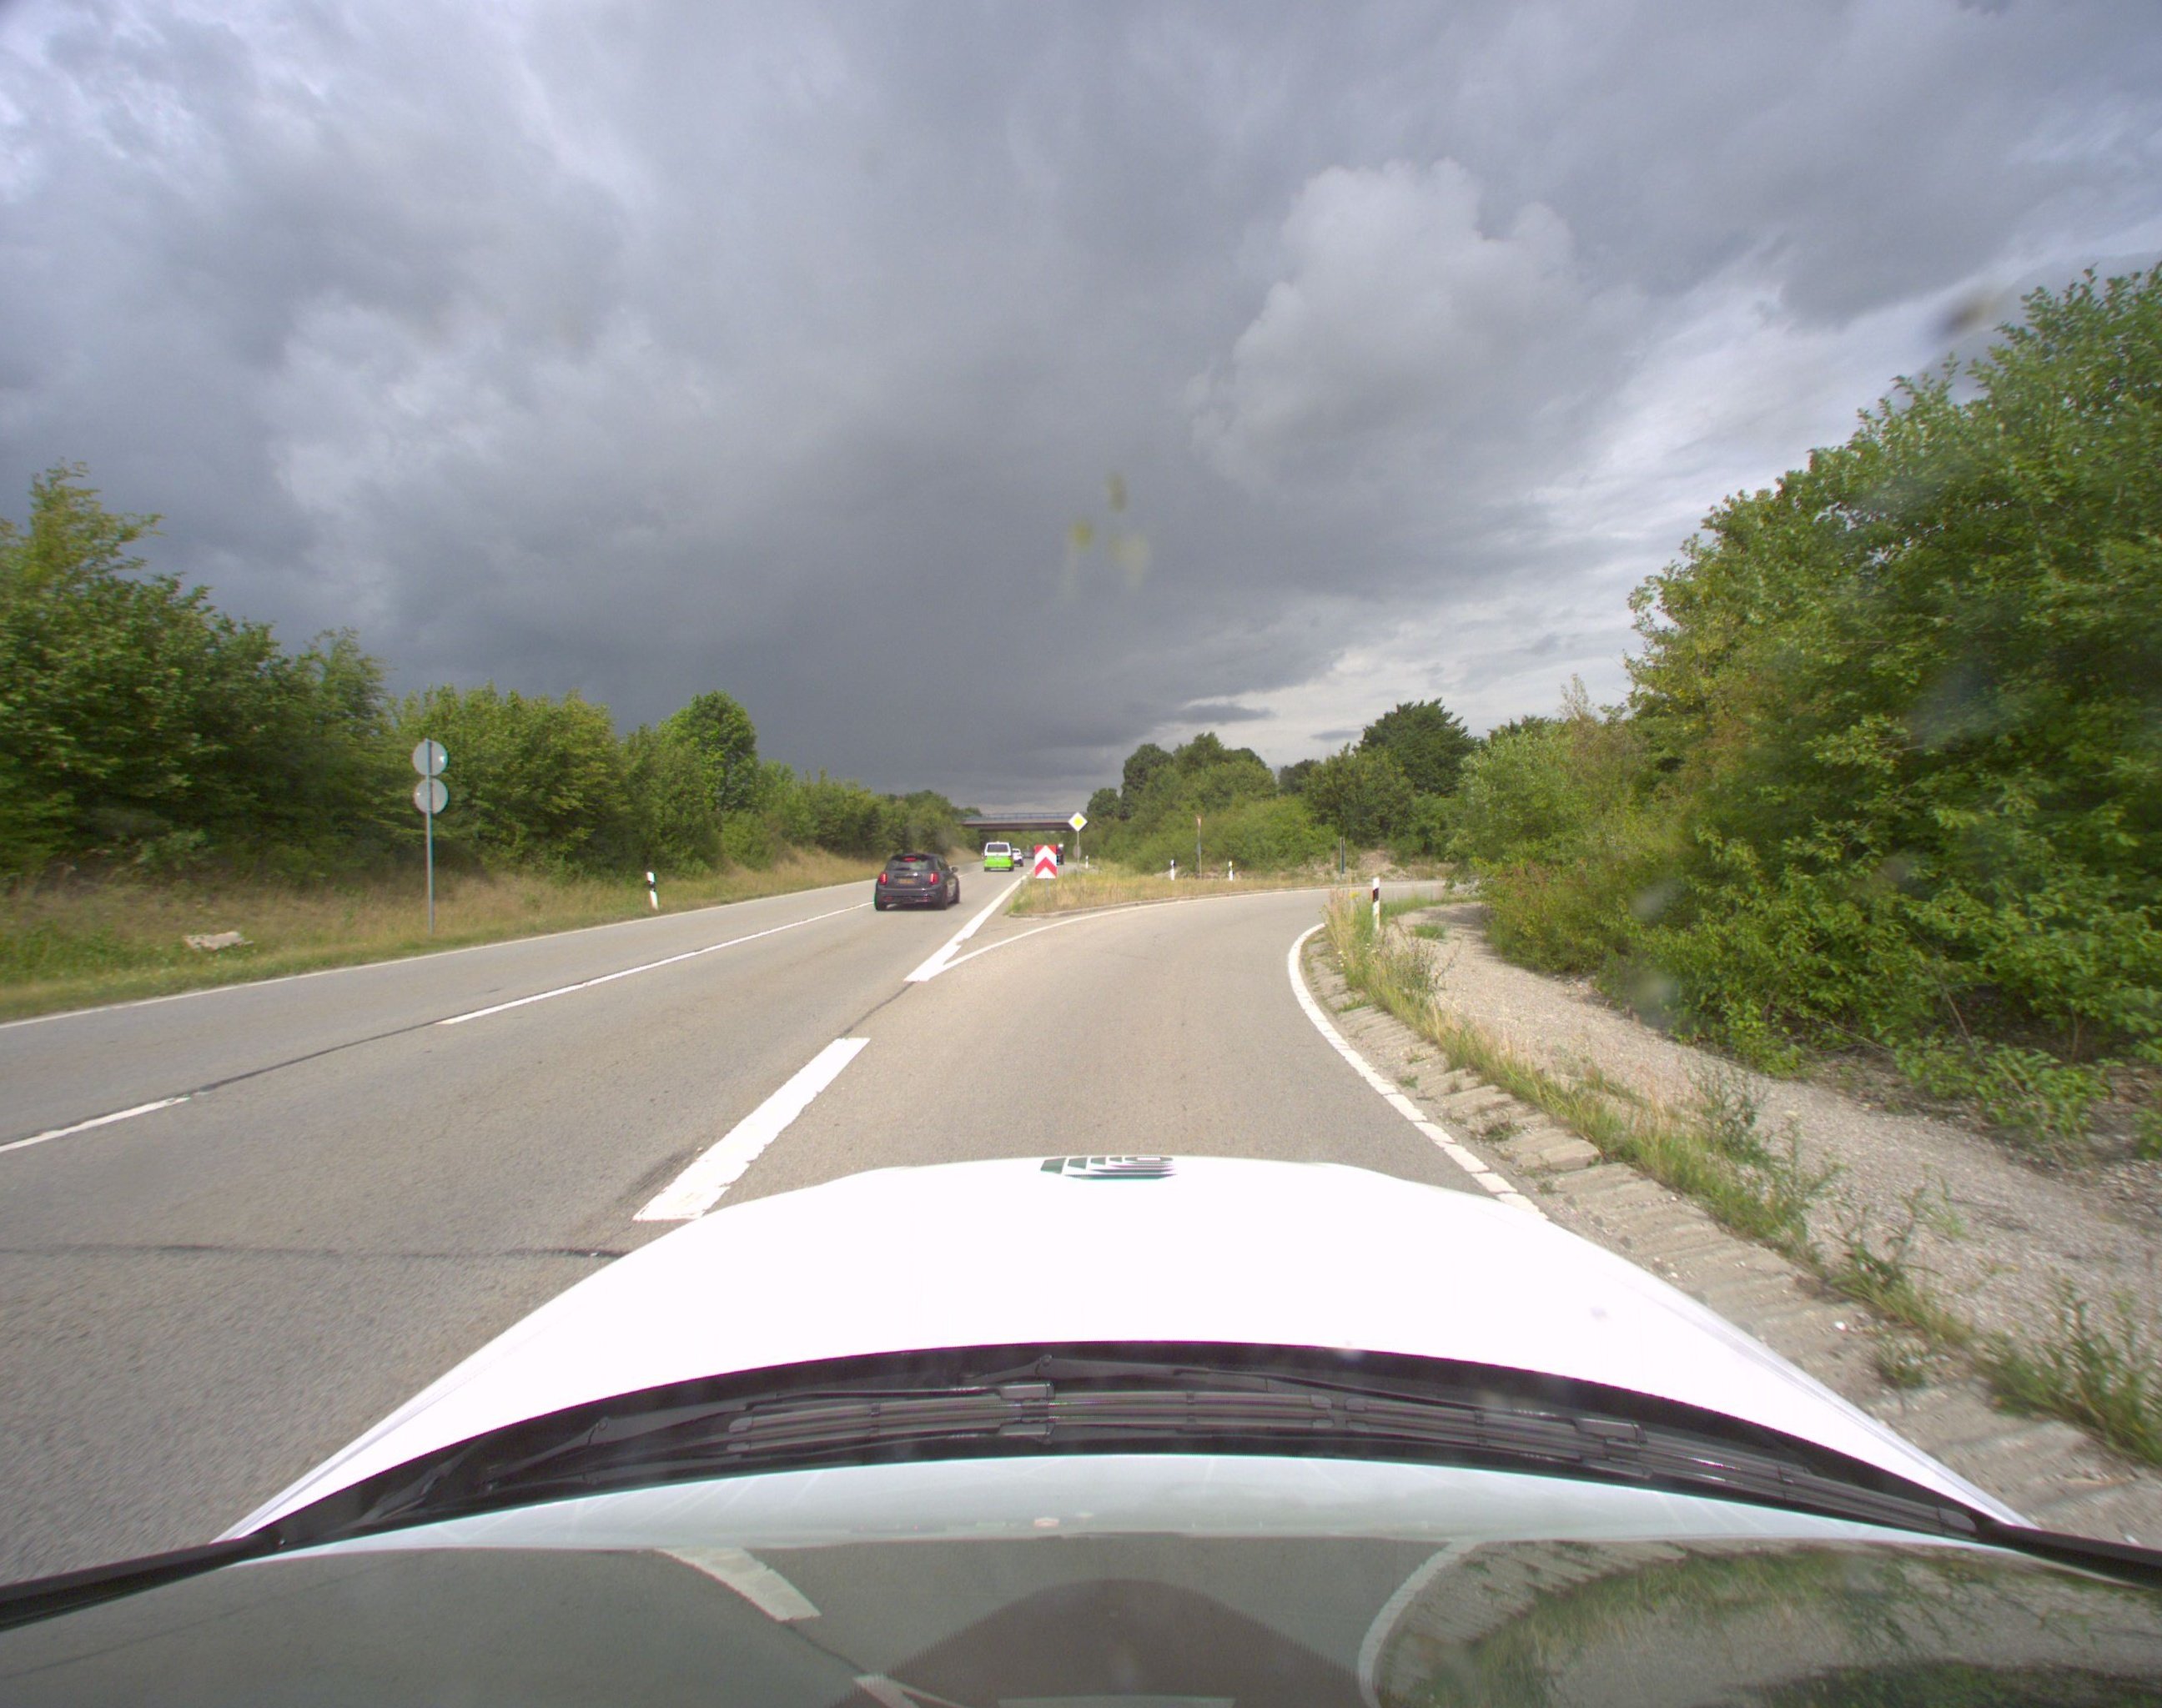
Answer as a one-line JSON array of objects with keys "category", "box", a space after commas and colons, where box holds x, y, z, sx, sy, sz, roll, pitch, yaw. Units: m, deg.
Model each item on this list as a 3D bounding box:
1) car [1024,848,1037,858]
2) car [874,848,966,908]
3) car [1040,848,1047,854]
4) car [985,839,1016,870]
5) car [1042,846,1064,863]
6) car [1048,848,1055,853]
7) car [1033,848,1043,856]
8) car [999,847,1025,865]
[{"category": "car", "box": [-7.384, -0.146, 120.143, 1.662, 1.403, 3.999, 0, 0, 0]}, {"category": "car", "box": [-4.144, 0.570, 21.528, 1.752, 1.427, 3.997, 1, 0, -2]}, {"category": "car", "box": [-9.508, -0.730, 205.031, 1.663, 1.403, 3.997, 0, 0, -2]}, {"category": "car", "box": [-5.457, 0.016, 55.304, 1.815, 2.054, 3.997, 1, 0, -2]}, {"category": "car", "box": [-2.737, 0.051, 79.558, 1.990, 1.552, 3.994, 1, 0, -4]}, {"category": "car", "box": [-8.254, -0.874, 228.273, 1.661, 1.403, 4.001, 0, 0, 1]}, {"category": "car", "box": [-7.966, -0.403, 150.167, 1.663, 1.403, 3.997, 0, 0, -2]}, {"category": "car", "box": [-5.951, 0.146, 70.391, 1.988, 1.552, 3.997, 1, 0, -2]}]
